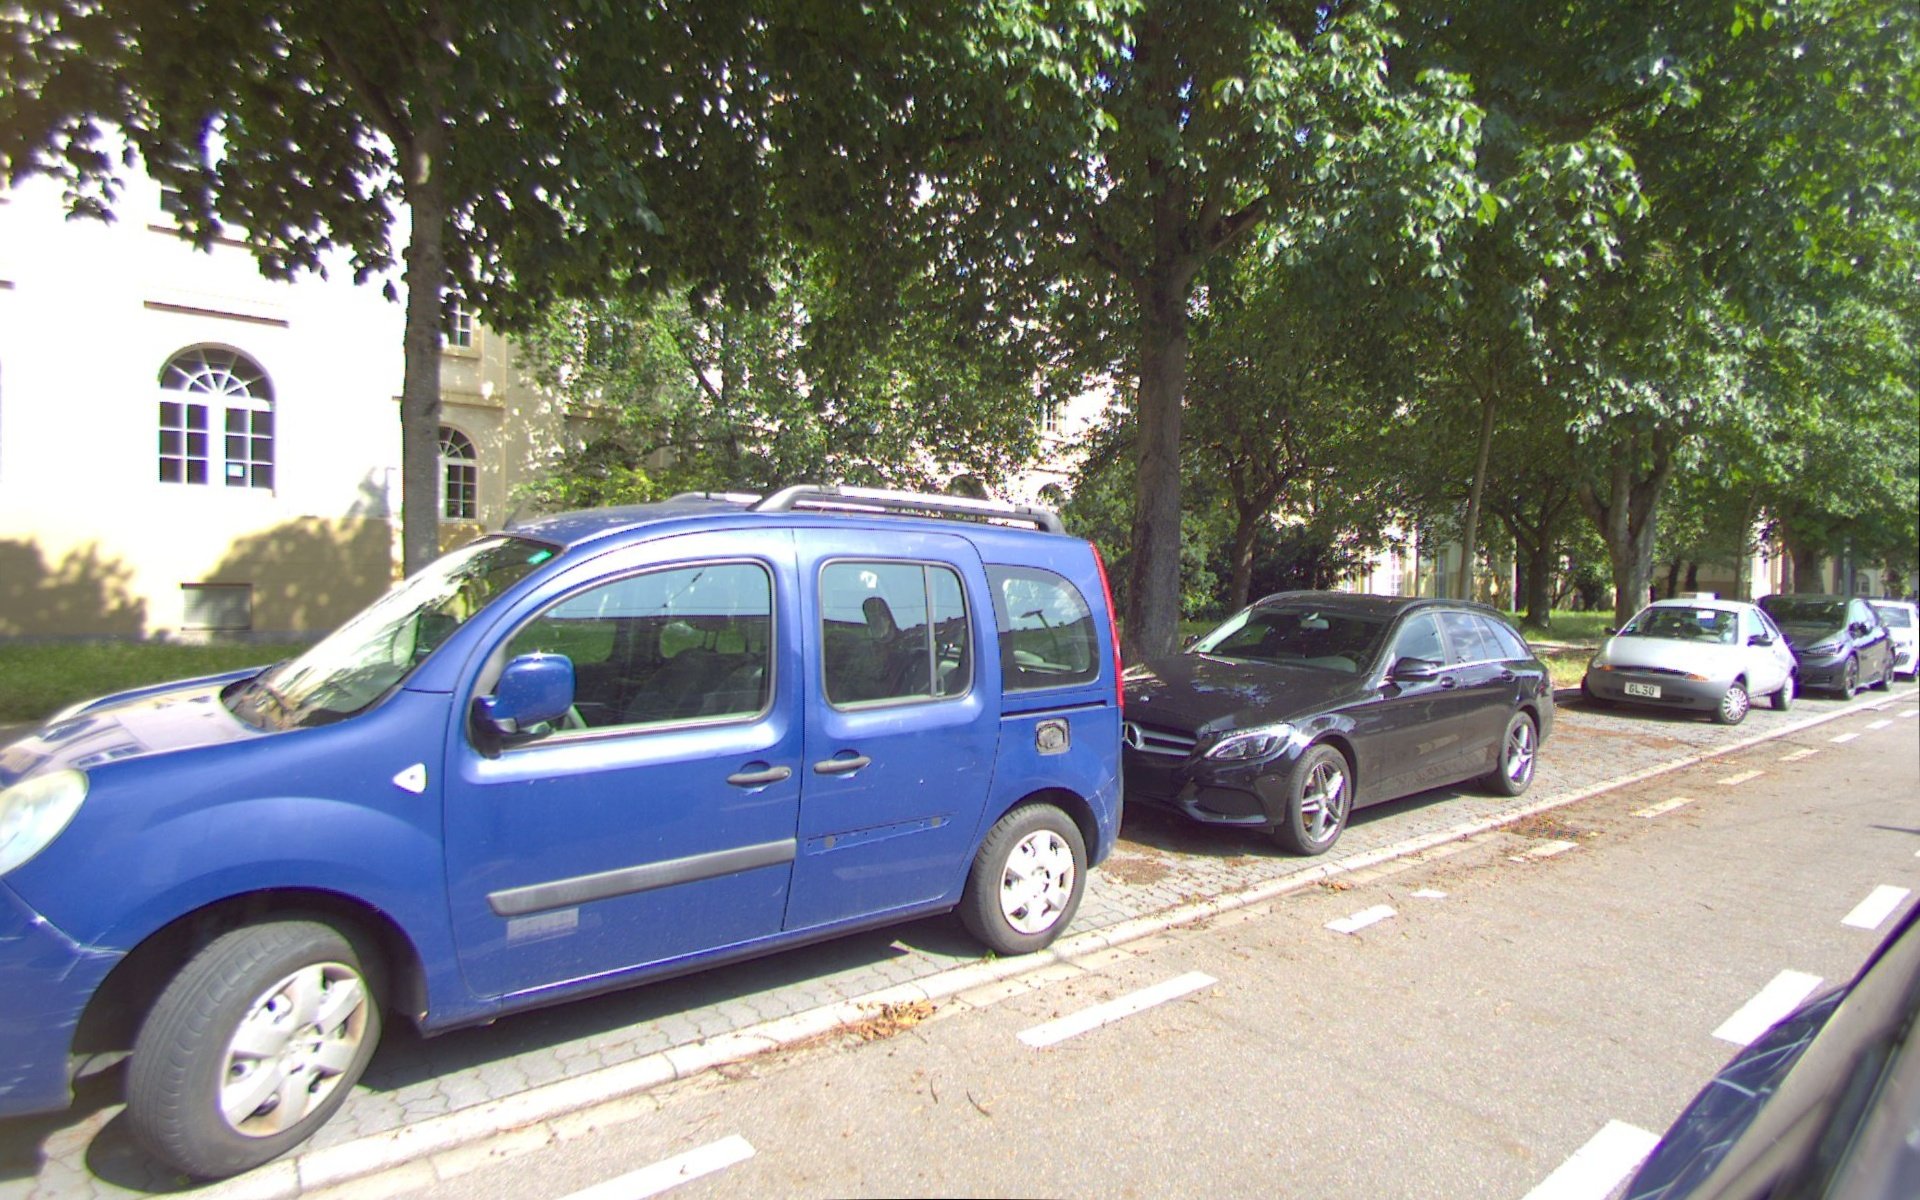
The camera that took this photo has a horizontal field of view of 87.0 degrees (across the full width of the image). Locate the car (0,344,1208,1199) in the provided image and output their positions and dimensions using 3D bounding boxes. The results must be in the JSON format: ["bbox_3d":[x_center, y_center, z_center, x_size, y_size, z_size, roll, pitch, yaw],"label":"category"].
[{"bbox_3d":[-1.118,0.399,3.956,4.106,1.919,1.828,1,2,-37],"label":"car"}]

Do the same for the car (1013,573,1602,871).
[{"bbox_3d":[2.791,0.625,7.496,4.711,1.459,1.922,0,3,-40],"label":"car"}]

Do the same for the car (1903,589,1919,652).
[{"bbox_3d":[24.813,0.533,25.160,3.497,1.478,1.559,-1,5,-41],"label":"car"}]

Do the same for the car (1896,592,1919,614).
[{"bbox_3d":[77.684,0.244,80.160,1.820,1.676,4.843,-1,2,-28],"label":"car"}]

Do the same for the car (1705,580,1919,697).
[{"bbox_3d":[13.843,0.532,16.336,4.591,1.603,1.730,0,2,-38],"label":"car"}]

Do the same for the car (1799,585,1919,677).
[{"bbox_3d":[18.086,0.539,19.836,4.179,1.542,1.839,0,4,-41],"label":"car"}]

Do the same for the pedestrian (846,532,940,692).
[{"bbox_3d":[-0.758,0.122,11.374,0.752,1.717,0.747,0,1,-35],"label":"pedestrian"}]

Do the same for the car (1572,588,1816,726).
[{"bbox_3d":[9.451,0.609,12.957,3.532,1.462,1.595,0,3,-38],"label":"car"}]
